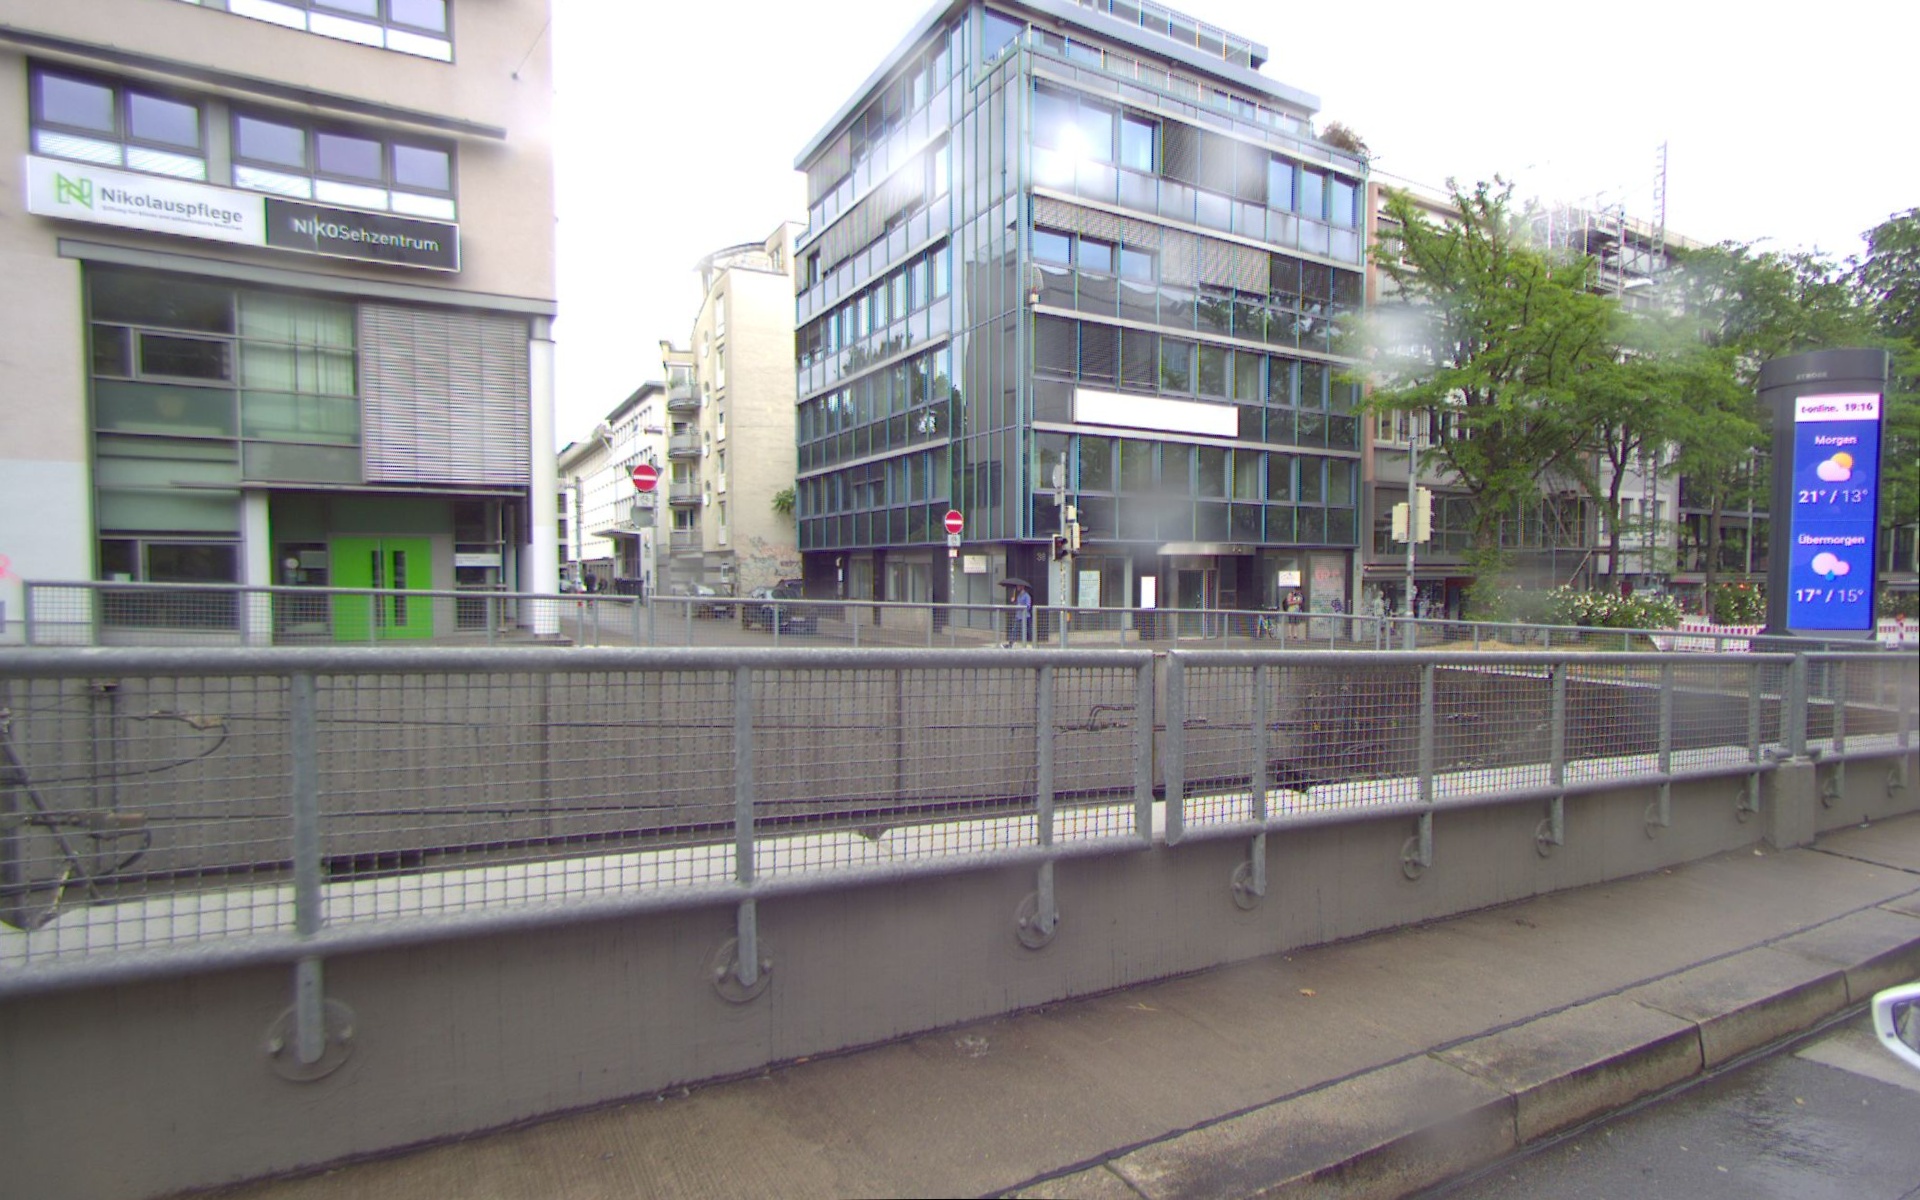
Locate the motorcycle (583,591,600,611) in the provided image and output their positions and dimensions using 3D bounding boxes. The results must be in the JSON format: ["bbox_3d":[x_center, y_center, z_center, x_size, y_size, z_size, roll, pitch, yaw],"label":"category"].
[{"bbox_3d":[-19.284,0.061,52.521,0.696,0.984,0.977,1,2,-29],"label":"motorcycle"}]

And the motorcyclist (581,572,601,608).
[{"bbox_3d":[-19.293,-0.540,52.504,0.850,1.832,1.007,1,2,-29],"label":"motorcyclist"}]

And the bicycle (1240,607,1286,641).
[{"bbox_3d":[9.867,0.784,32.724,1.544,1.100,0.444,1,1,-27],"label":"bicycle"}]

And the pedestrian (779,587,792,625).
[{"bbox_3d":[-7.681,0.254,44.199,0.443,1.664,0.326,1,2,-35],"label":"pedestrian"}]

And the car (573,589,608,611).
[{"bbox_3d":[-28.004,0.008,76.029,1.777,1.578,3.967,1,0,-30],"label":"car"}]

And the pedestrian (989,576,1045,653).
[{"bbox_3d":[1.426,0.359,25.027,1.047,1.863,0.853,1,2,-30],"label":"pedestrian"}]

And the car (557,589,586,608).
[{"bbox_3d":[-33.878,-0.115,87.597,1.777,1.578,3.967,1,0,-30],"label":"car"}]

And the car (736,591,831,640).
[{"bbox_3d":[-6.242,0.510,35.173,1.977,1.578,3.966,1,0,-31],"label":"car"}]

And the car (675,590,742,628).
[{"bbox_3d":[-11.107,0.370,44.111,1.777,1.578,3.966,1,0,-31],"label":"car"}]

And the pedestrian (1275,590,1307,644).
[{"bbox_3d":[10.947,0.555,33.231,0.688,1.765,0.691,1,2,-35],"label":"pedestrian"}]
